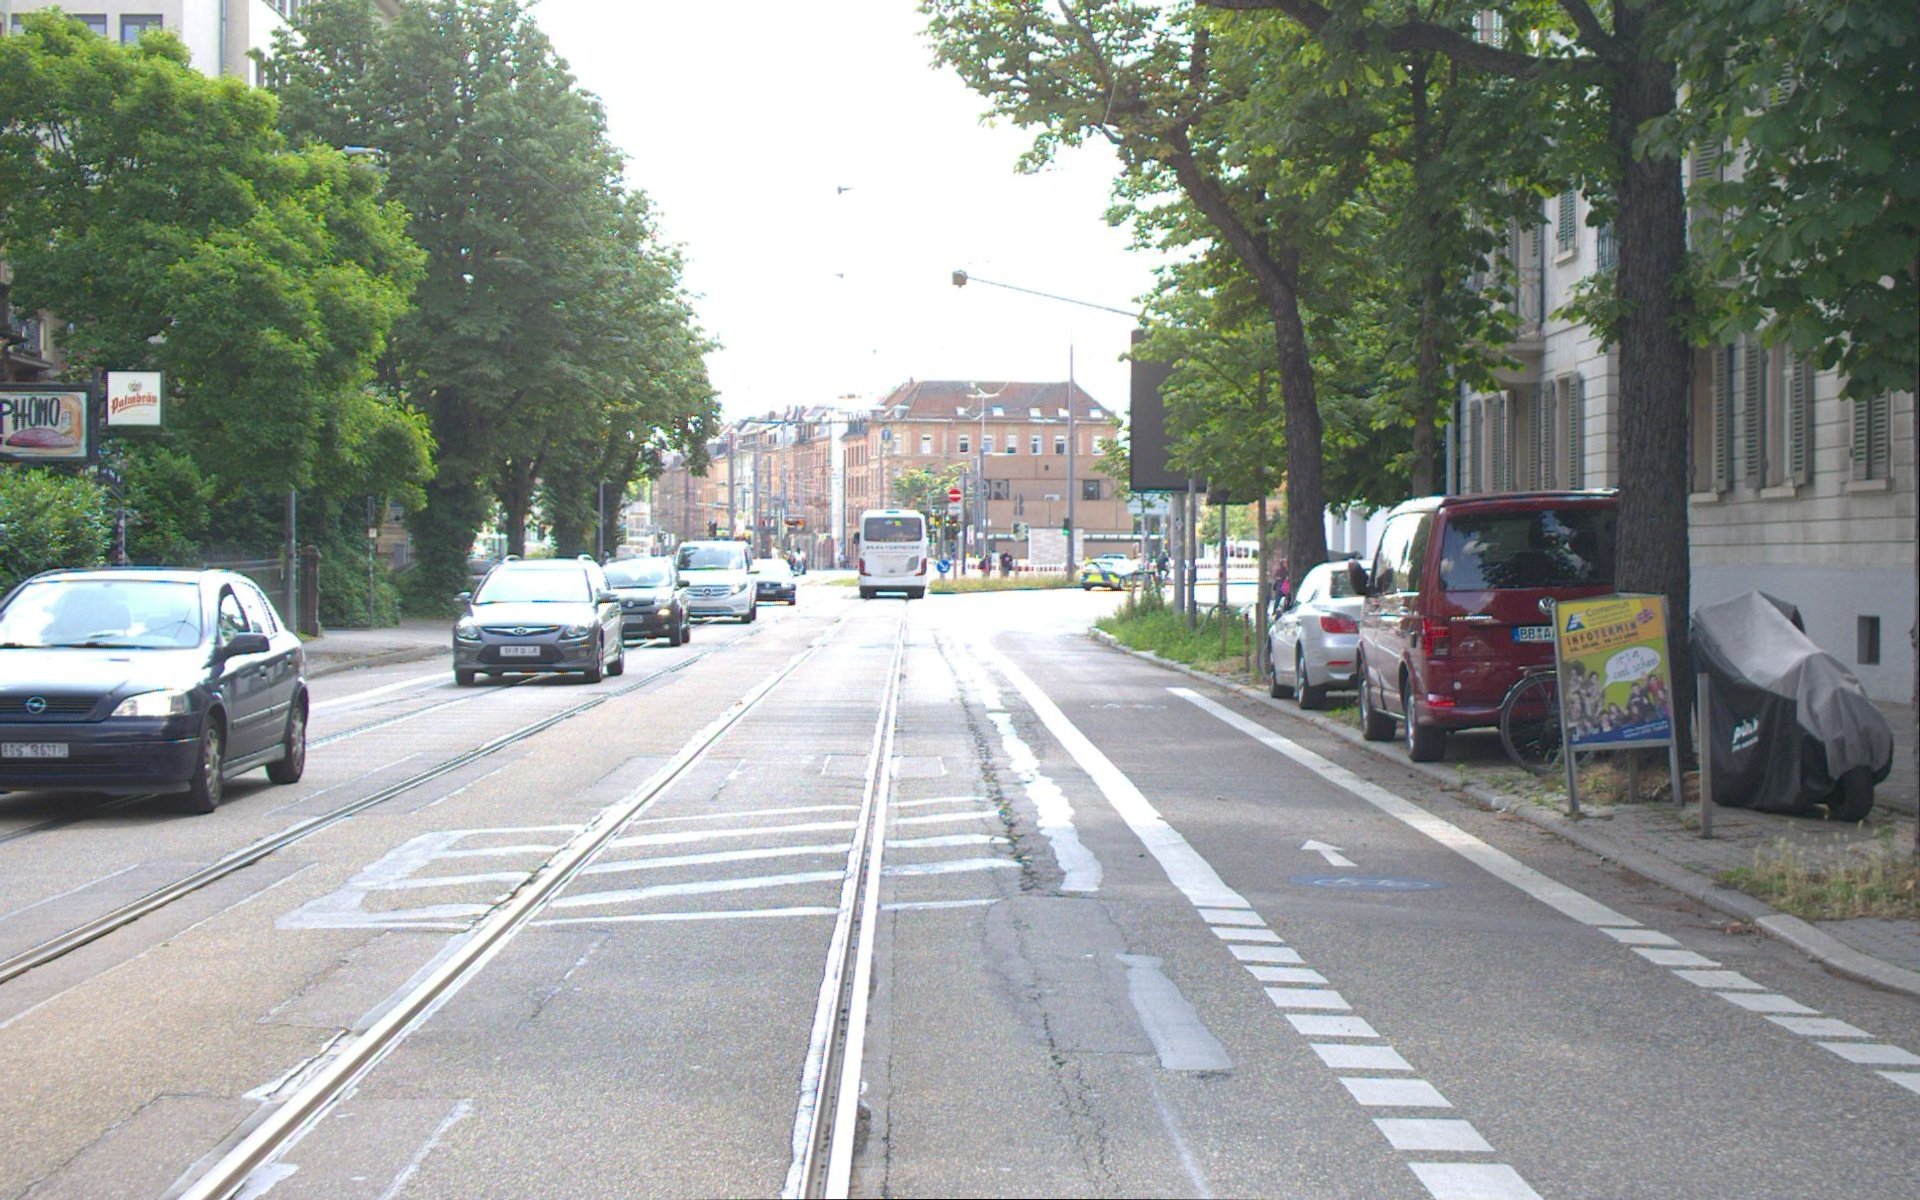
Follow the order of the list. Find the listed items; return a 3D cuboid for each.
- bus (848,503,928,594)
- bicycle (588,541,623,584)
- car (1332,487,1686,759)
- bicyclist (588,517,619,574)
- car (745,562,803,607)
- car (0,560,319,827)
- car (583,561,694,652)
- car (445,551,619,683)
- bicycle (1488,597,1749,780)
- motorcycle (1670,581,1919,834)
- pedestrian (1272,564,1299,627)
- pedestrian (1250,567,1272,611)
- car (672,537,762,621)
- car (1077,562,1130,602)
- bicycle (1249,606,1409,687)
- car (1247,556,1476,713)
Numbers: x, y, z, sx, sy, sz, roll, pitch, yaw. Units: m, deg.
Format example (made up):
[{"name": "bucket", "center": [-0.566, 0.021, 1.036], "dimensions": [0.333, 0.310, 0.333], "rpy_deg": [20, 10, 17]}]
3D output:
[{"name": "bus", "center": [-2.836, -1.943, 134.204], "dimensions": [2.917, 3.317, 12.207], "rpy_deg": [1, 0, -1]}, {"name": "bicycle", "center": [-9.636, -1.021, 93.536], "dimensions": [0.602, 1.093, 2.023], "rpy_deg": [-5, 1, 2]}, {"name": "car", "center": [4.184, 0.131, 26.989], "dimensions": [1.895, 1.934, 4.951], "rpy_deg": [0, 1, -1]}, {"name": "bicyclist", "center": [-9.688, -1.489, 93.469], "dimensions": [0.599, 1.487, 0.882], "rpy_deg": [-5, 1, 2]}, {"name": "car", "center": [-5.898, -0.501, 109.414], "dimensions": [1.688, 1.397, 3.931], "rpy_deg": [0, 1, -1]}, {"name": "car", "center": [-5.029, 0.479, 20.637], "dimensions": [1.628, 1.402, 4.129], "rpy_deg": [1, 1, -1]}, {"name": "car", "center": [-5.648, 0.091, 60.666], "dimensions": [1.631, 1.551, 3.822], "rpy_deg": [0, 1, 0]}, {"name": "car", "center": [-5.228, 0.171, 42.424], "dimensions": [1.727, 1.535, 4.277], "rpy_deg": [-1, 1, -2]}, {"name": "bicycle", "center": [4.397, 0.586, 23.017], "dimensions": [1.610, 1.199, 0.590], "rpy_deg": [0, 1, -3]}, {"name": "motorcycle", "center": [4.699, 0.563, 19.419], "dimensions": [0.857, 1.317, 2.445], "rpy_deg": [1, 1, 0]}, {"name": "pedestrian", "center": [9.022, -0.133, 95.208], "dimensions": [0.685, 1.718, 0.747], "rpy_deg": [-1, 2, 4]}, {"name": "pedestrian", "center": [8.432, -0.303, 96.304], "dimensions": [0.421, 1.196, 0.406], "rpy_deg": [-2, 2, -33]}, {"name": "car", "center": [-5.633, -0.504, 80.162], "dimensions": [1.897, 1.901, 5.385], "rpy_deg": [0, 1, -2]}, {"name": "car", "center": [6.549, -0.829, 156.694], "dimensions": [2.130, 1.678, 4.101], "rpy_deg": [2, 2, 6]}, {"name": "bicycle", "center": [4.195, 0.530, 39.170], "dimensions": [1.776, 0.899, 0.692], "rpy_deg": [0, 1, 2]}, {"name": "car", "center": [4.048, 0.301, 35.327], "dimensions": [1.707, 1.493, 4.789], "rpy_deg": [0, 1, -1]}]
